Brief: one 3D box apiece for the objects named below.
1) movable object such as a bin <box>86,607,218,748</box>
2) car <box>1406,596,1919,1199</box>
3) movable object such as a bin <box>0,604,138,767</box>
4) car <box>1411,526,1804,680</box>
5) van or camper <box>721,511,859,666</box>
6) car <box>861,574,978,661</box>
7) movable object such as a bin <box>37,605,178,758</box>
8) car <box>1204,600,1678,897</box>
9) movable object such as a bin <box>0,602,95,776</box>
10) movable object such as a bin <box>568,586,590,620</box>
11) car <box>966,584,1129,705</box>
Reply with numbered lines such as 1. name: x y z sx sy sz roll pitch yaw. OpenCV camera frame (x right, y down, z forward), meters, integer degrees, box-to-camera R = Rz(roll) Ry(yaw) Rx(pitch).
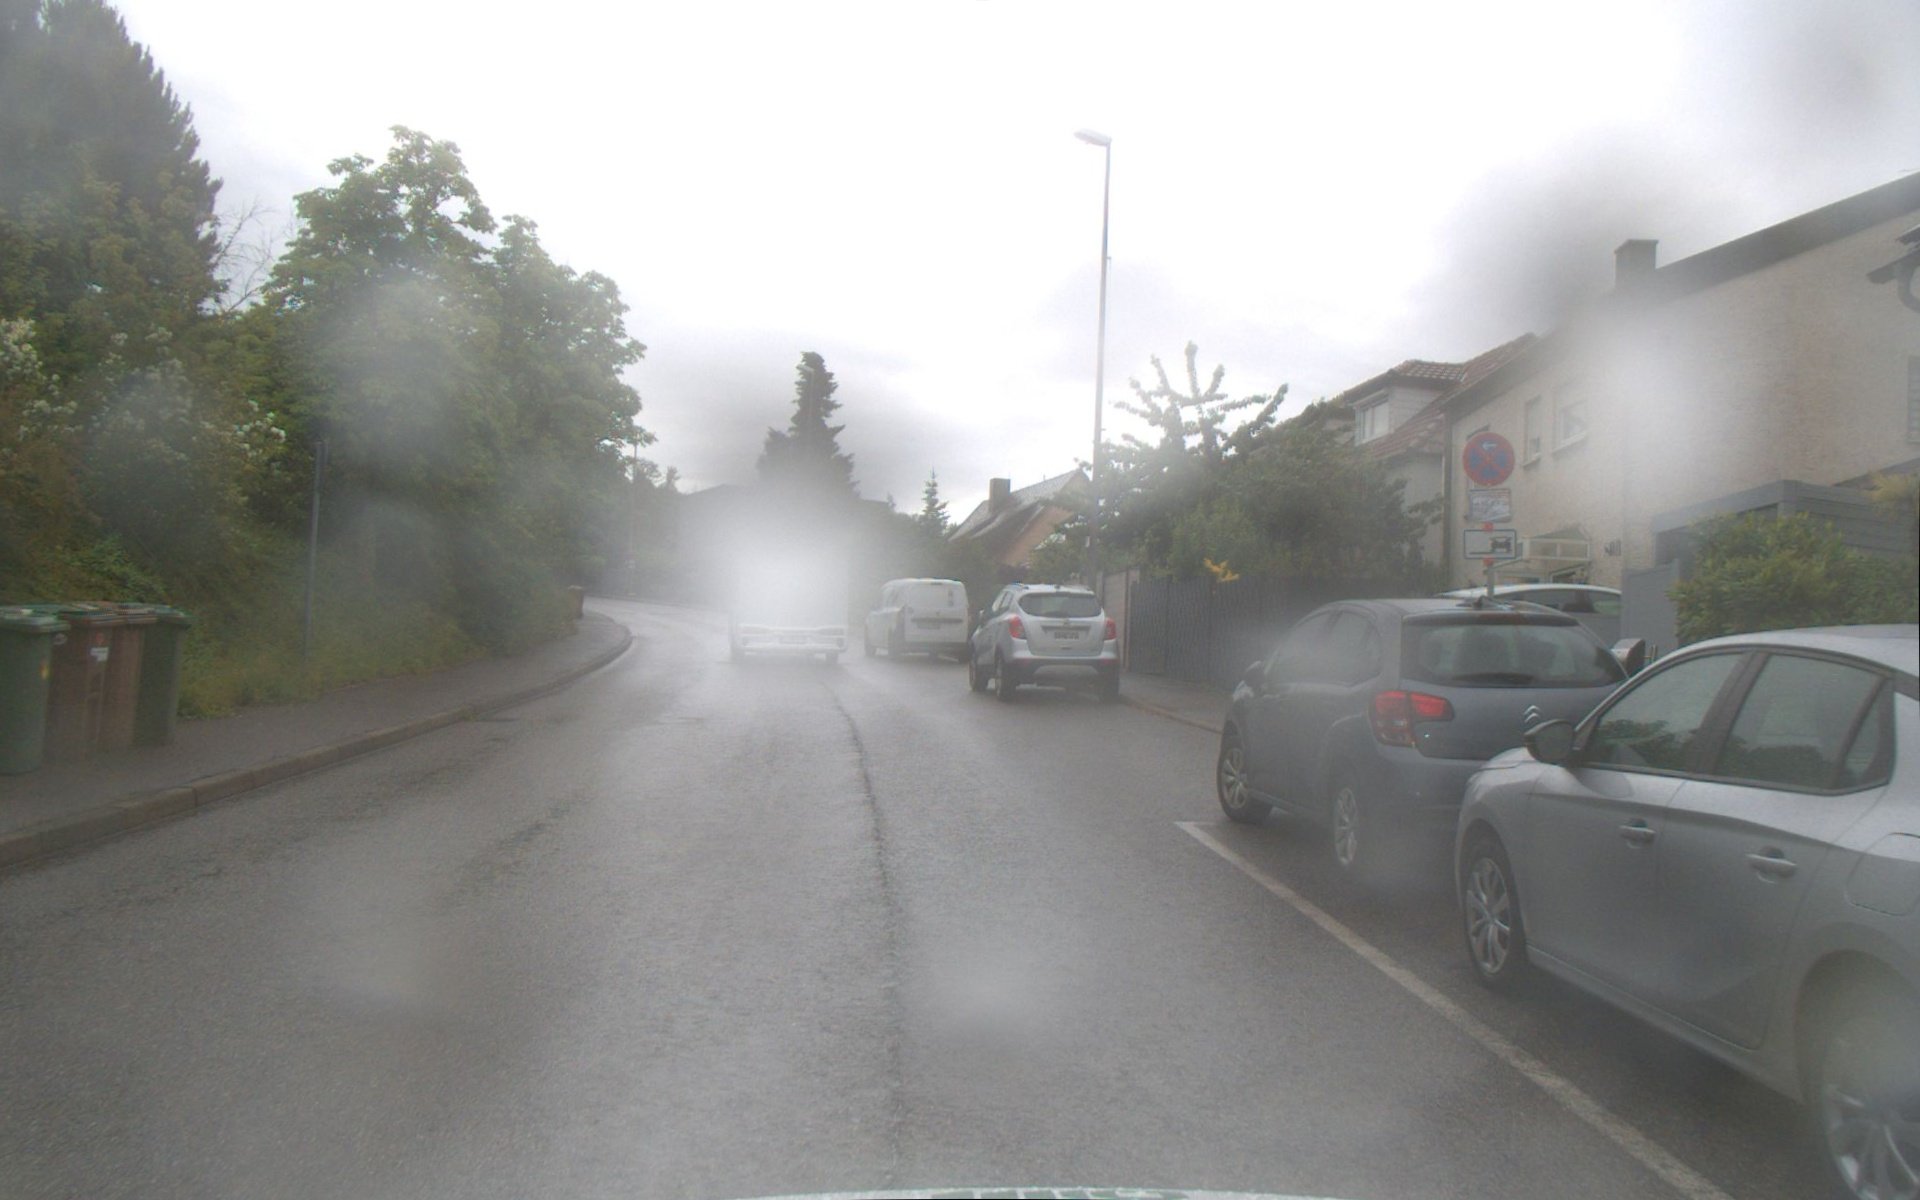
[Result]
1. movable object such as a bin: -6.422 0.605 13.185 0.754 1.086 0.689 1 0 -9
2. car: 2.971 0.744 5.382 1.733 1.493 4.232 0 0 -2
3. movable object such as a bin: -6.359 0.590 11.714 0.754 1.116 0.736 1 0 -9
4. car: 7.611 0.055 19.713 3.907 1.617 1.934 2 -1 -2
5. van or camper: -3.756 -0.213 35.422 2.494 2.976 5.934 1 0 -10
6. car: -1.001 0.384 37.851 1.748 1.835 4.692 1 0 -13
7. movable object such as a bin: -6.403 0.598 12.457 0.754 1.116 0.670 1 0 -9
8. car: 2.769 0.761 10.411 1.627 1.493 3.759 0 0 -5
9. movable object such as a bin: -6.281 0.573 10.959 0.754 1.116 0.736 1 0 -9
10. movable object such as a bin: -13.746 0.107 59.740 0.682 1.109 0.801 4 3 -12
11. car: 1.223 0.604 25.062 1.770 1.655 4.281 0 0 -7
